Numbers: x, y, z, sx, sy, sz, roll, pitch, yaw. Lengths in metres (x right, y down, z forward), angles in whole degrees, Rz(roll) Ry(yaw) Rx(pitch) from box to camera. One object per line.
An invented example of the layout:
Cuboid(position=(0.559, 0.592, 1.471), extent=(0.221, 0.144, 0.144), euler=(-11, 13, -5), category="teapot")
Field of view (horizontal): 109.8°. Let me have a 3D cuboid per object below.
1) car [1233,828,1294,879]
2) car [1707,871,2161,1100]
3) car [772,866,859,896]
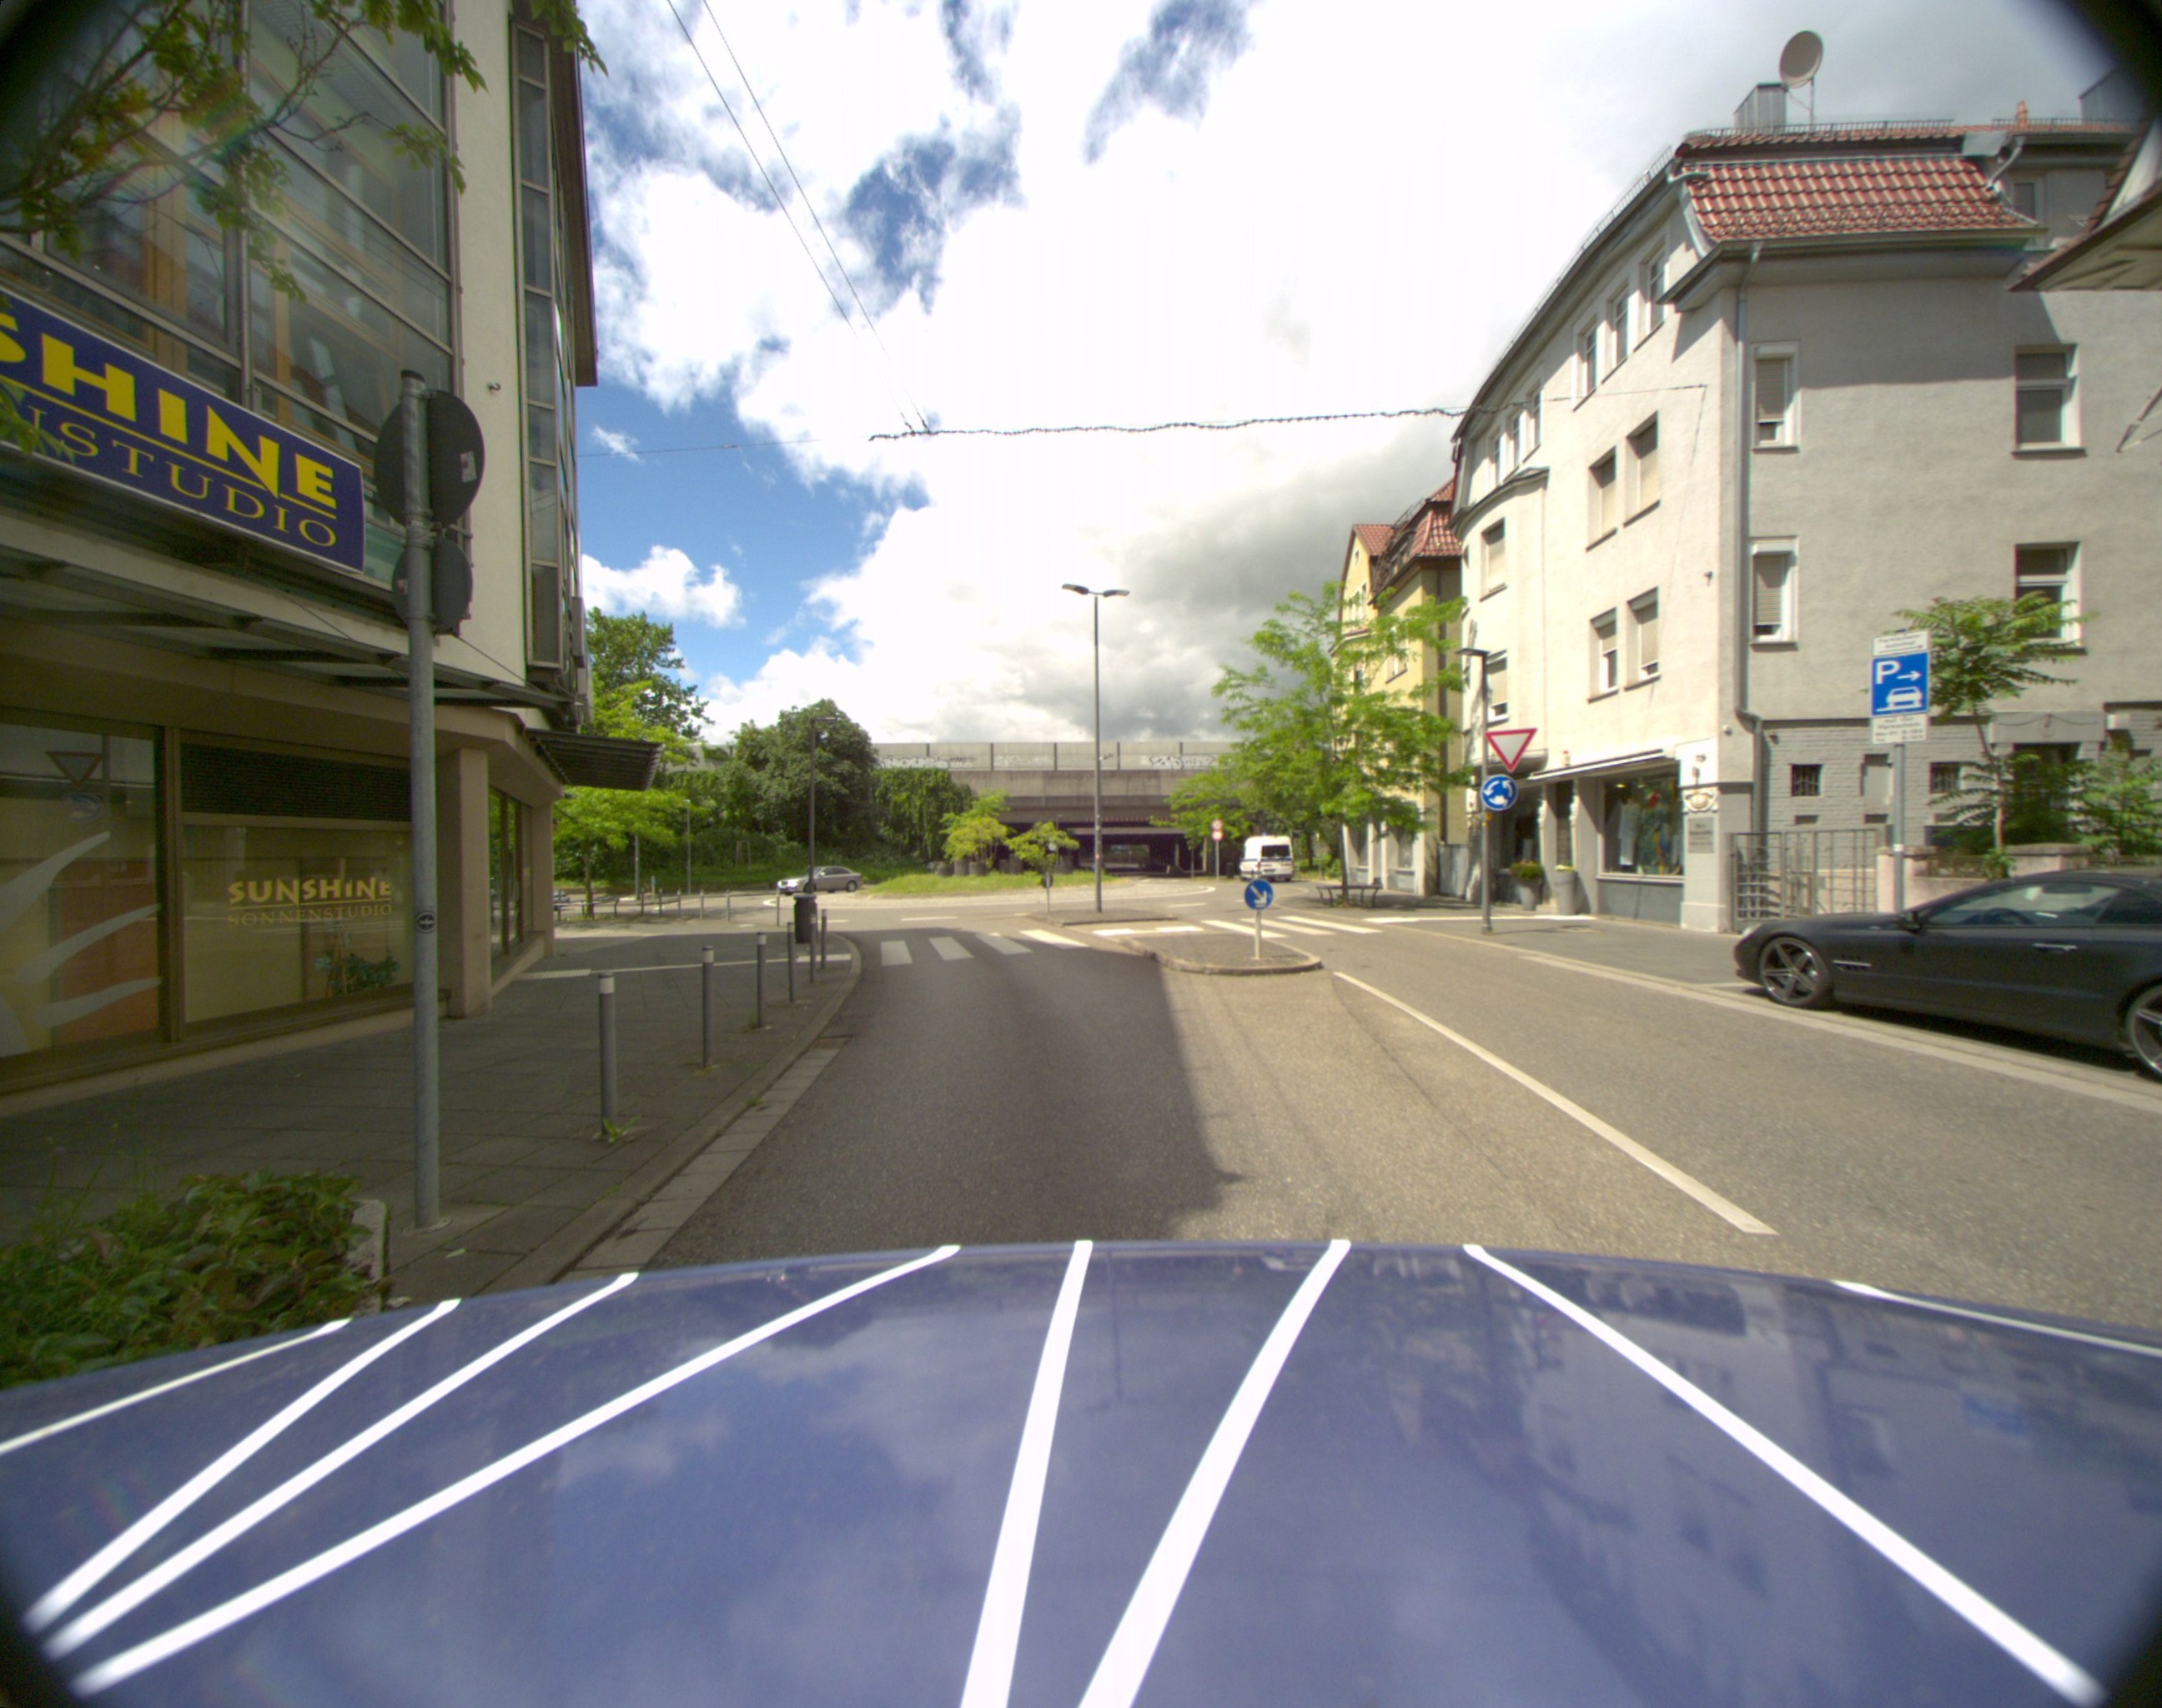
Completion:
Cuboid(position=(10.293, -0.016, 43.281), extent=(1.972, 2.591, 5.930), euler=(-2, 0, 0), category="car")
Cuboid(position=(7.150, 0.799, 5.470), extent=(1.714, 1.238, 4.412), euler=(-1, 0, 1), category="car")
Cuboid(position=(-13.686, 1.352, 39.404), extent=(1.710, 1.346, 4.008), euler=(-2, 0, 33), category="car")
